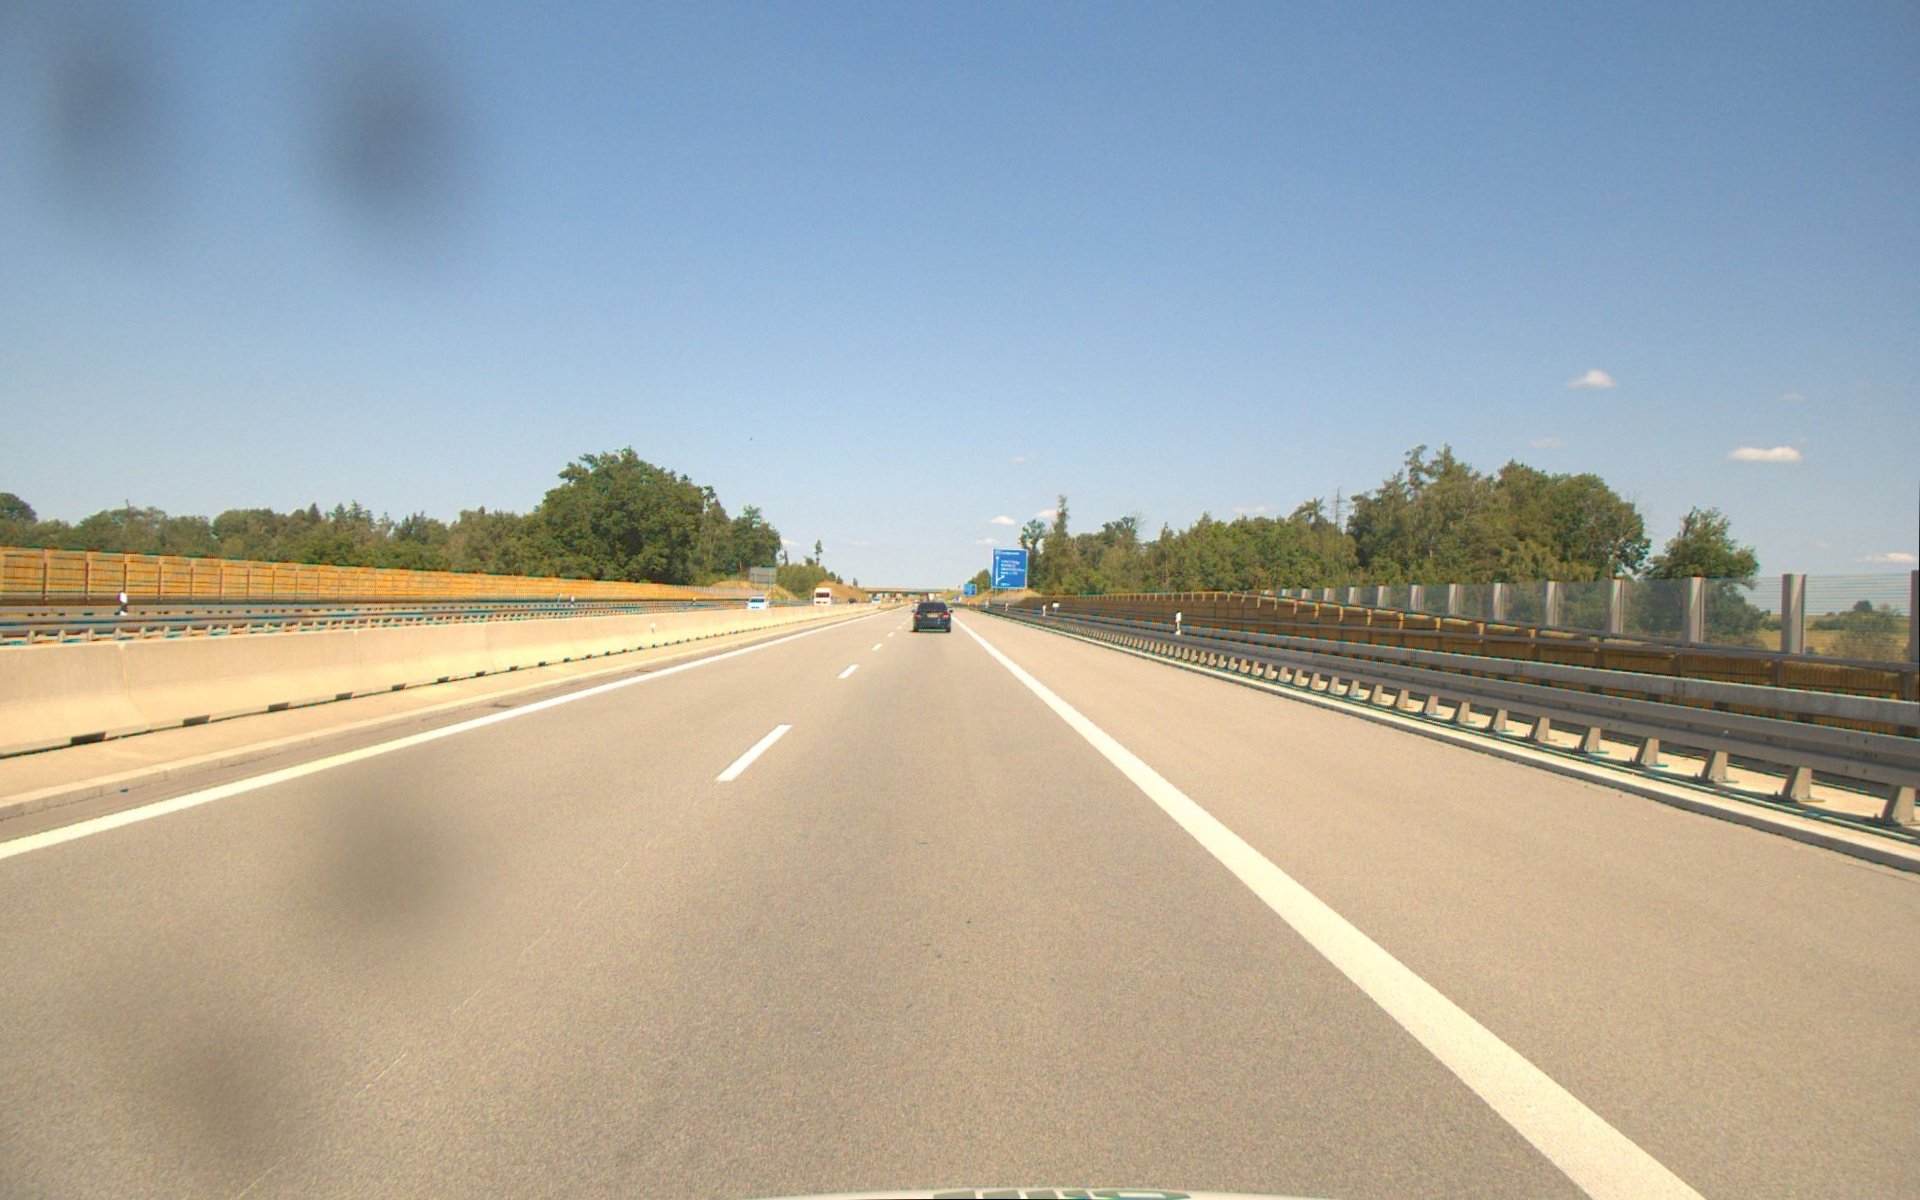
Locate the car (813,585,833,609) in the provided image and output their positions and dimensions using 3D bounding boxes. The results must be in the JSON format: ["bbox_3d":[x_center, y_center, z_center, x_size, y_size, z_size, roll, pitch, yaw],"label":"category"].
[{"bbox_3d":[-15.846,-0.386,191.956,1.982,2.717,6.484,1,0,-2],"label":"car"}]

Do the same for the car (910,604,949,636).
[{"bbox_3d":[-1.394,0.914,76.386,1.753,1.398,3.916,1,0,-1],"label":"car"}]

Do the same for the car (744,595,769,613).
[{"bbox_3d":[-17.305,0.354,140.923,1.614,1.535,4.331,1,0,-1],"label":"car"}]
